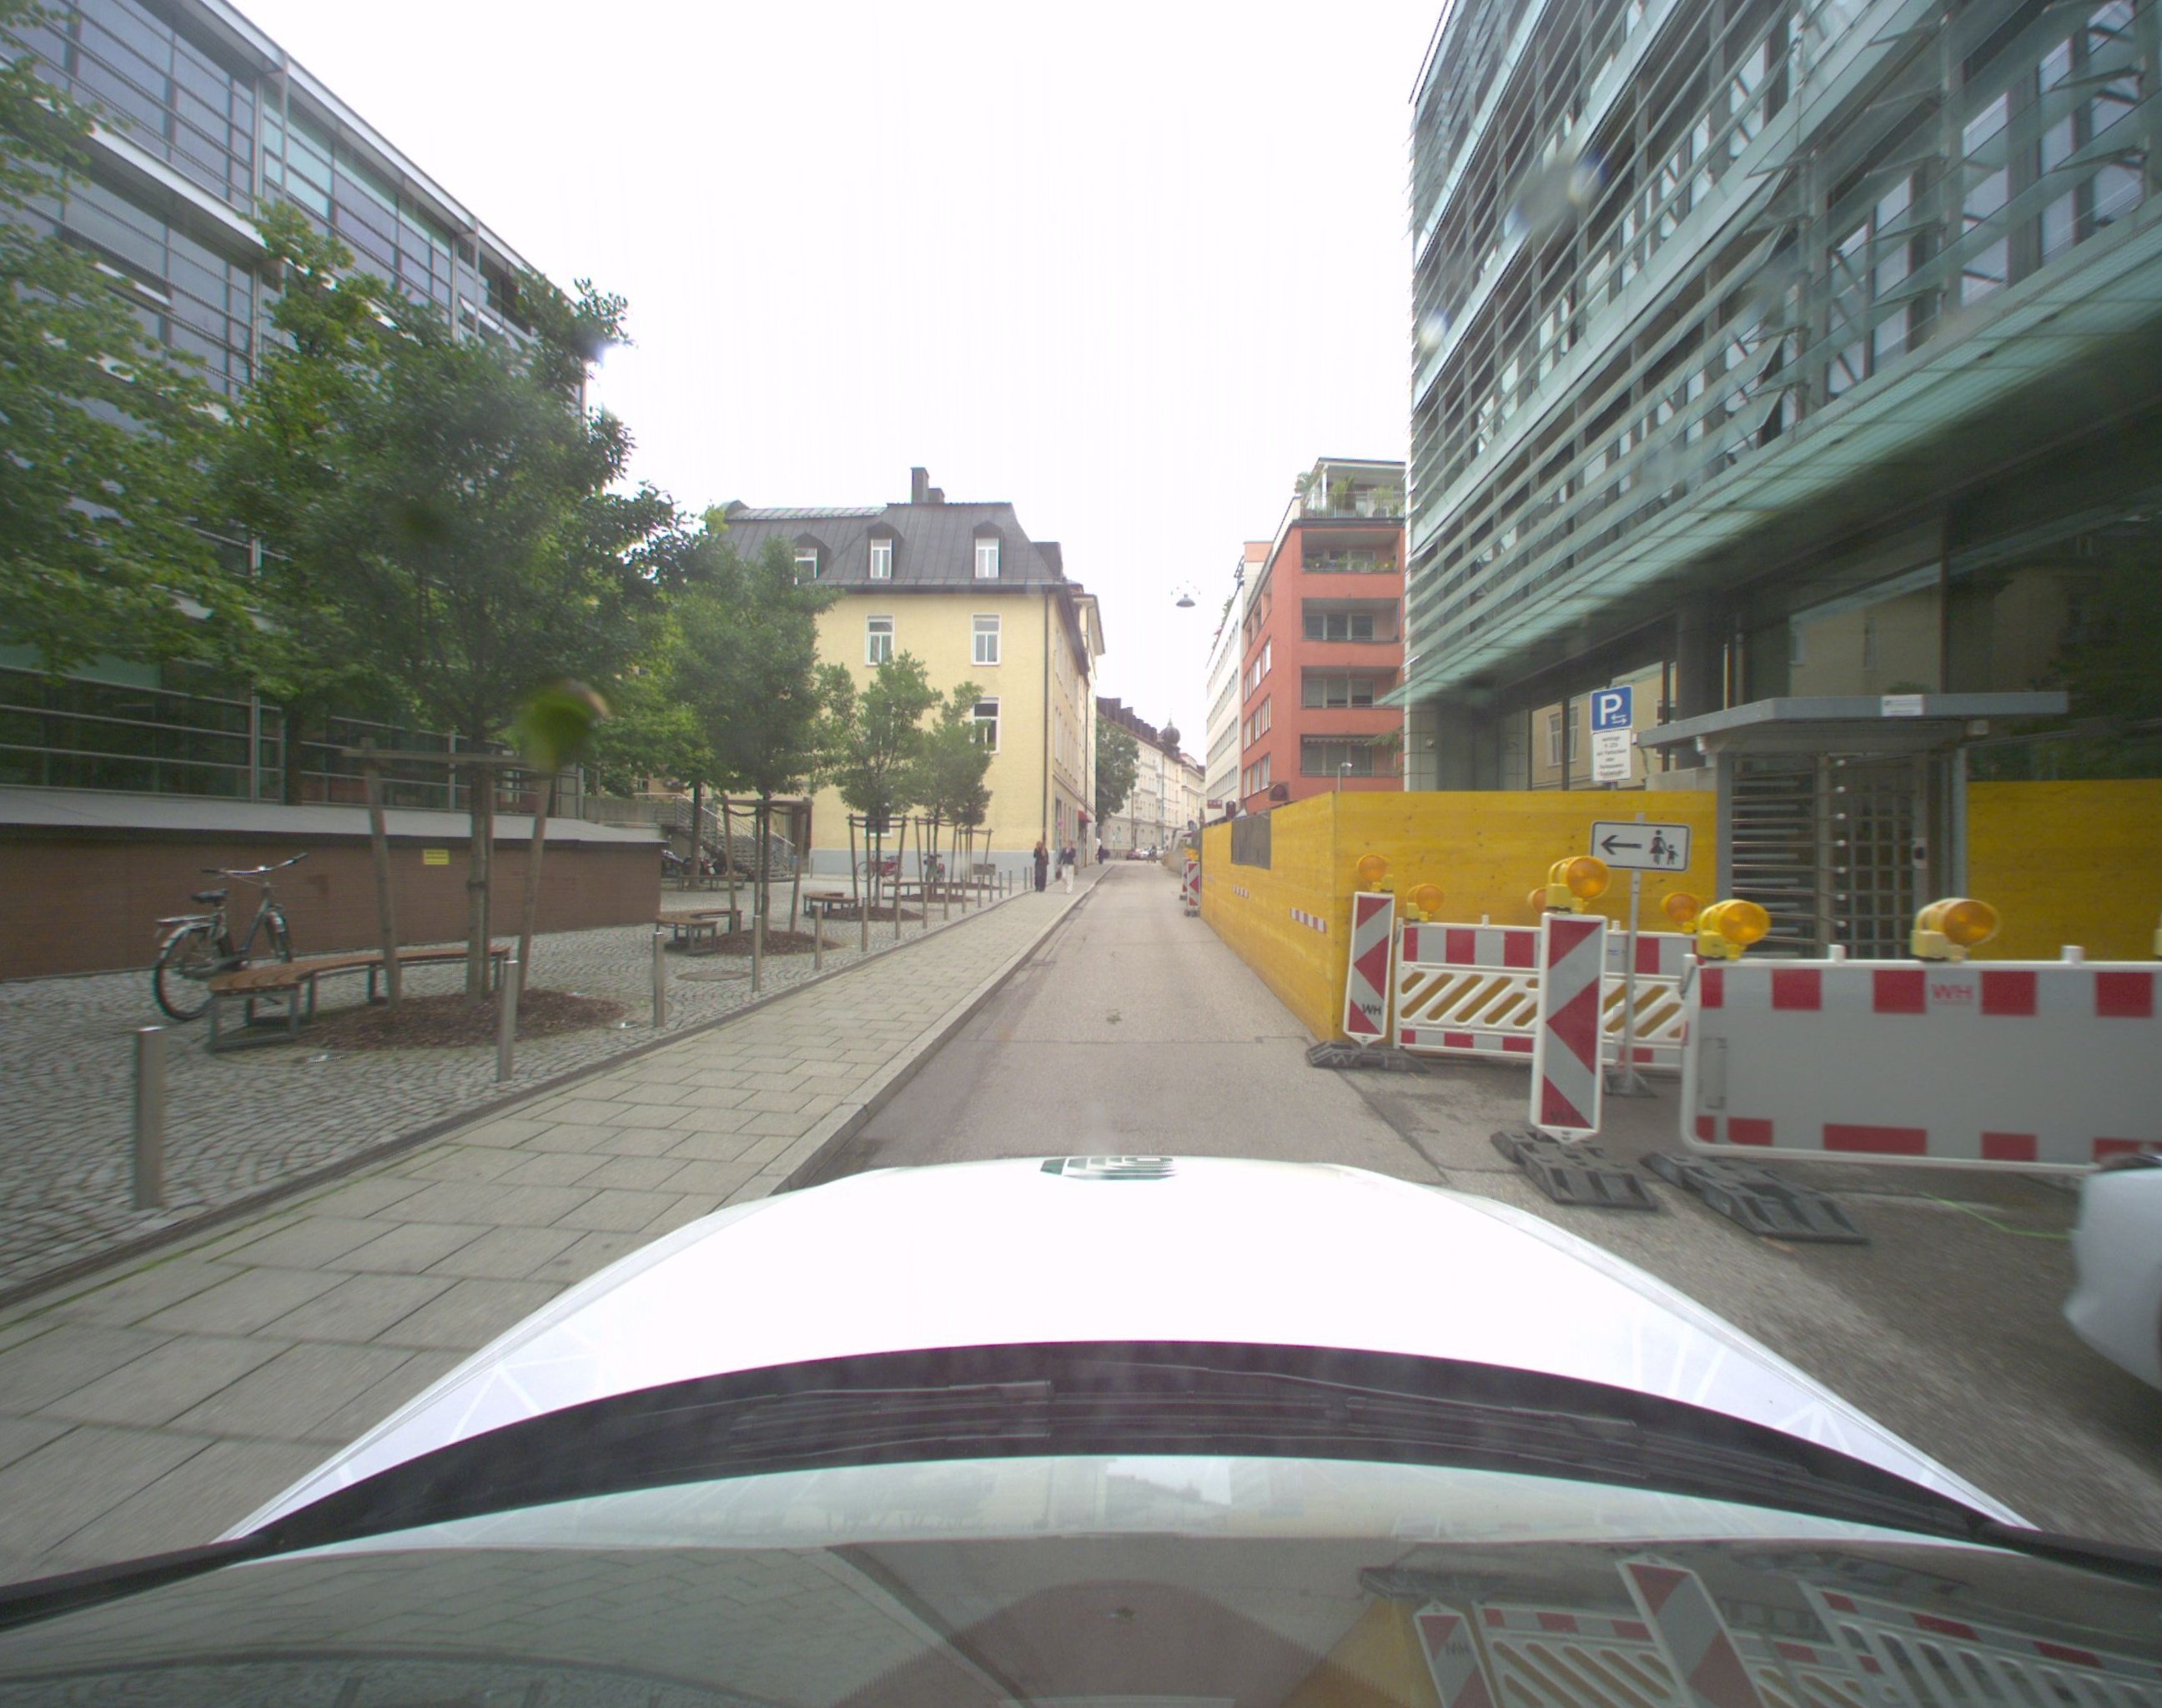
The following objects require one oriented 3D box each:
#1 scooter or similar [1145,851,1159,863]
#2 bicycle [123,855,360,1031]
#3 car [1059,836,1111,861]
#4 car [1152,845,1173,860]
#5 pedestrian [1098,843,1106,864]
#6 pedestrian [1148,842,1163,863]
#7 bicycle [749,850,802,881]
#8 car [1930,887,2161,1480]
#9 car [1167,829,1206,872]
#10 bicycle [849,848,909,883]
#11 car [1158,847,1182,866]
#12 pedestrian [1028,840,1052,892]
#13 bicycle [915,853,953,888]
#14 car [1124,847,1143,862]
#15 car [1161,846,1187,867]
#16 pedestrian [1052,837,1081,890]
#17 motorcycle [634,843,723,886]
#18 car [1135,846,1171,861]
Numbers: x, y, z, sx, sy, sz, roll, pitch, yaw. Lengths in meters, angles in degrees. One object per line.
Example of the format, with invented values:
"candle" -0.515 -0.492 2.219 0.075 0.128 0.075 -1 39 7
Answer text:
"scooter or similar" 6.767 0.287 77.959 1.059 1.127 1.166 2 0 19
"bicycle" -6.712 0.629 6.645 0.552 1.197 1.826 1 0 -19
"car" 0.398 -0.527 83.387 5.001 2.398 1.984 1 0 -25
"car" 10.757 -0.181 106.705 2.005 1.904 4.308 0 0 16
"pedestrian" 1.737 -0.069 66.519 0.632 1.675 0.518 1 0 3
"pedestrian" 7.274 -0.111 79.362 1.124 2.013 1.416 2 0 19
"bicycle" -11.106 0.416 29.625 1.647 1.069 0.599 2 0 7
"car" 3.391 0.840 0.254 1.701 1.414 4.513 2 0 3
"car" 6.702 -0.238 52.179 1.985 2.536 4.979 1 0 3
"bicycle" -7.361 0.405 29.717 2.031 1.197 0.571 1 0 10
"car" 7.661 0.172 70.541 1.804 1.563 4.278 2 0 3
"pedestrian" -1.329 0.390 26.414 0.667 1.648 0.762 1 0 3
"bicycle" -4.991 0.541 27.699 0.506 1.144 2.059 2 0 11
"car" 5.956 0.058 92.316 1.680 1.574 4.012 1 0 11
"car" 7.507 0.173 65.879 1.780 1.625 4.276 1 0 3
"pedestrian" -0.451 0.303 26.416 0.836 1.700 0.803 1 0 3
"motorcycle" -12.566 0.311 25.433 2.485 1.244 0.760 1 0 10
"car" 7.839 -0.053 88.493 1.676 1.574 4.024 2 1 44
